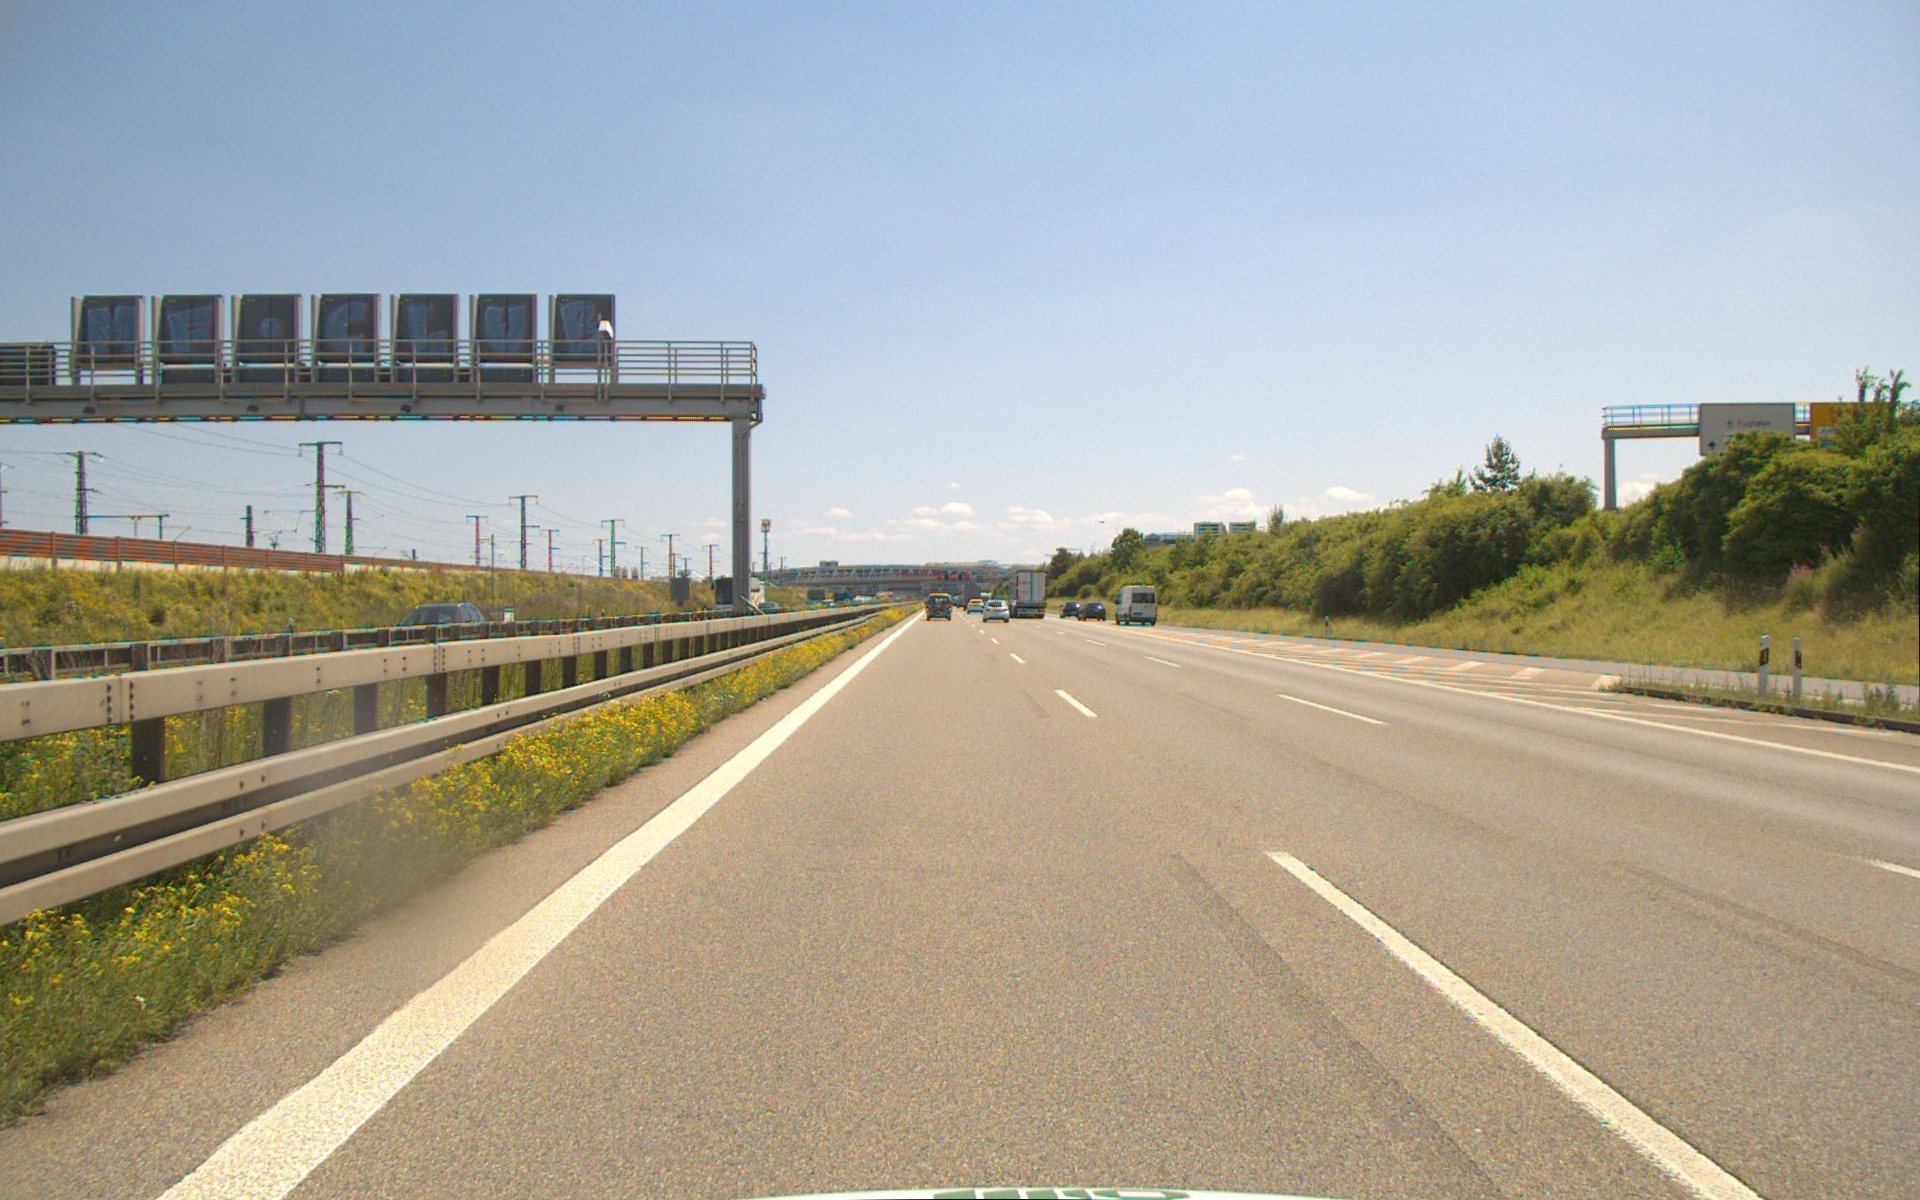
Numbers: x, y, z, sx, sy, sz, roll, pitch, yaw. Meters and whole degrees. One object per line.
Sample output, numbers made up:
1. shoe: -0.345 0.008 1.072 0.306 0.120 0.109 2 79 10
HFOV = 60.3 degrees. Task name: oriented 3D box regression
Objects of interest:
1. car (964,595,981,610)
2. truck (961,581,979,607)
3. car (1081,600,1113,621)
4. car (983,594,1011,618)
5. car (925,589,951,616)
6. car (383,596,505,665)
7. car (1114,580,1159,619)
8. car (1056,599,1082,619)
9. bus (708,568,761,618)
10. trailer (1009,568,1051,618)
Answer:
1. car: 1.325 0.259 178.811 1.842 1.553 4.000 1 -1 0
2. truck: 1.287 -0.763 222.247 2.307 3.476 6.056 0 0 -1
3. car: 10.635 0.842 128.735 1.954 1.534 3.997 2 -1 -3
4. car: 2.505 0.445 111.949 1.841 1.553 4.001 1 -1 2
5. car: -1.536 0.177 116.264 1.842 1.806 3.999 0 -1 -1
6. car: -12.689 0.706 40.895 1.767 1.601 4.000 0 0 0
7. car: 11.712 -0.039 110.153 2.228 2.572 5.397 1 0 -2
8. car: 9.764 0.798 148.493 1.953 1.624 3.998 2 -1 -1
9. bus: -17.756 -0.571 130.846 2.799 3.709 10.939 2 0 -1
10. trailer: 5.960 -0.605 142.894 3.112 4.130 9.438 -1 0 -1
